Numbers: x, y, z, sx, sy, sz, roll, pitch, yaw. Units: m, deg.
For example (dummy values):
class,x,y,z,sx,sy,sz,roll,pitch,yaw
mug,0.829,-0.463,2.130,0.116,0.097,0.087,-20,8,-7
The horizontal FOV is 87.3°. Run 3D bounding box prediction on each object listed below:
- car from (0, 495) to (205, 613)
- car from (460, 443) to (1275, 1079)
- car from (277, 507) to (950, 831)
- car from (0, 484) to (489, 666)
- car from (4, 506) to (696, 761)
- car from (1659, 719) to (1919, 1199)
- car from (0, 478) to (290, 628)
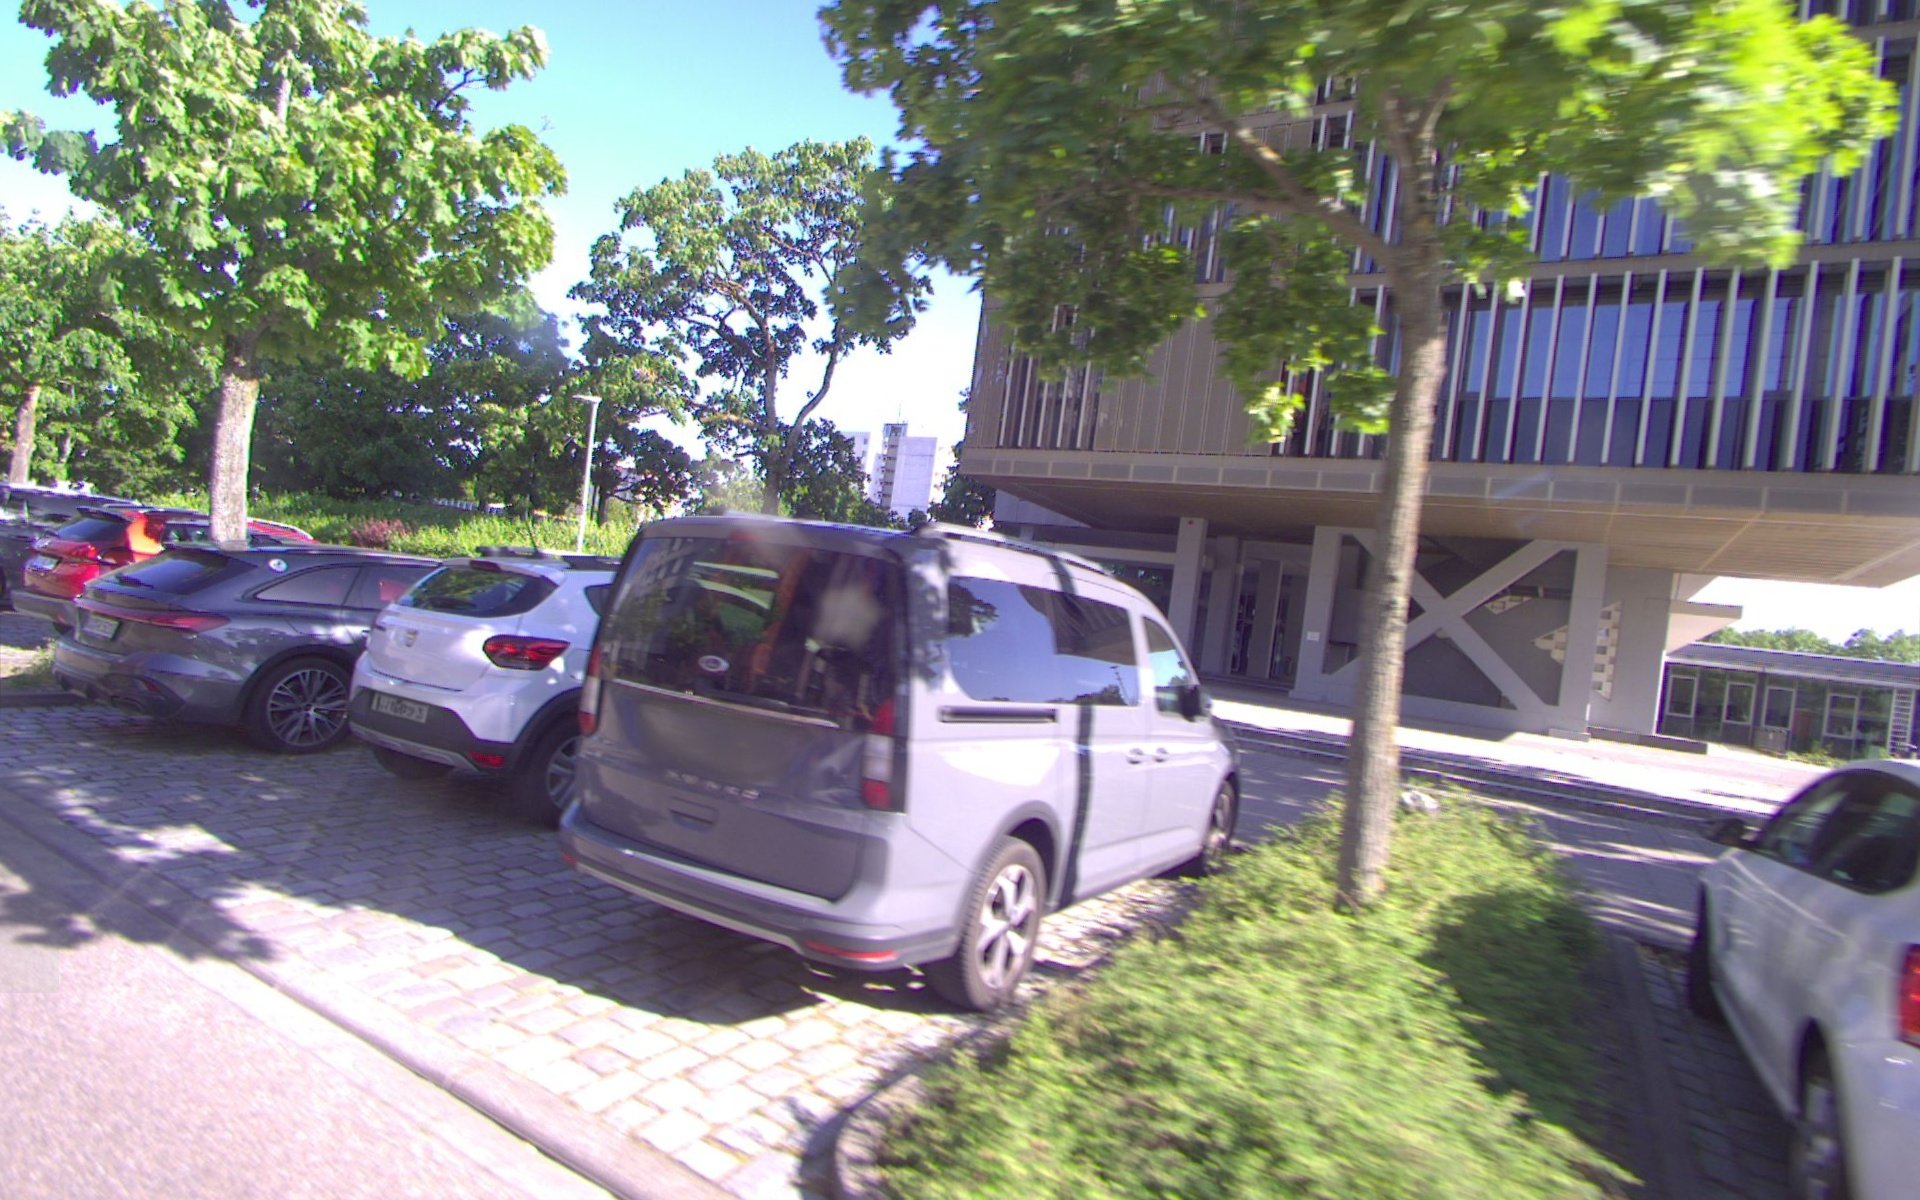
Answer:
class,x,y,z,sx,sy,sz,roll,pitch,yaw
car,-14.140,-0.797,14.781,1.864,1.481,4.408,7,-1,31
car,0.038,0.579,5.480,2.040,1.915,4.408,7,-1,31
car,-2.163,0.477,7.584,2.040,1.576,4.408,7,-1,31
car,-8.182,-0.170,11.834,1.845,1.555,4.408,7,-1,31
car,-4.621,0.321,8.381,2.040,1.426,4.408,7,-1,31
car,3.711,1.306,3.500,1.648,1.439,3.649,7,-1,30
car,-12.132,-0.680,13.758,2.040,1.661,4.408,7,-1,31
